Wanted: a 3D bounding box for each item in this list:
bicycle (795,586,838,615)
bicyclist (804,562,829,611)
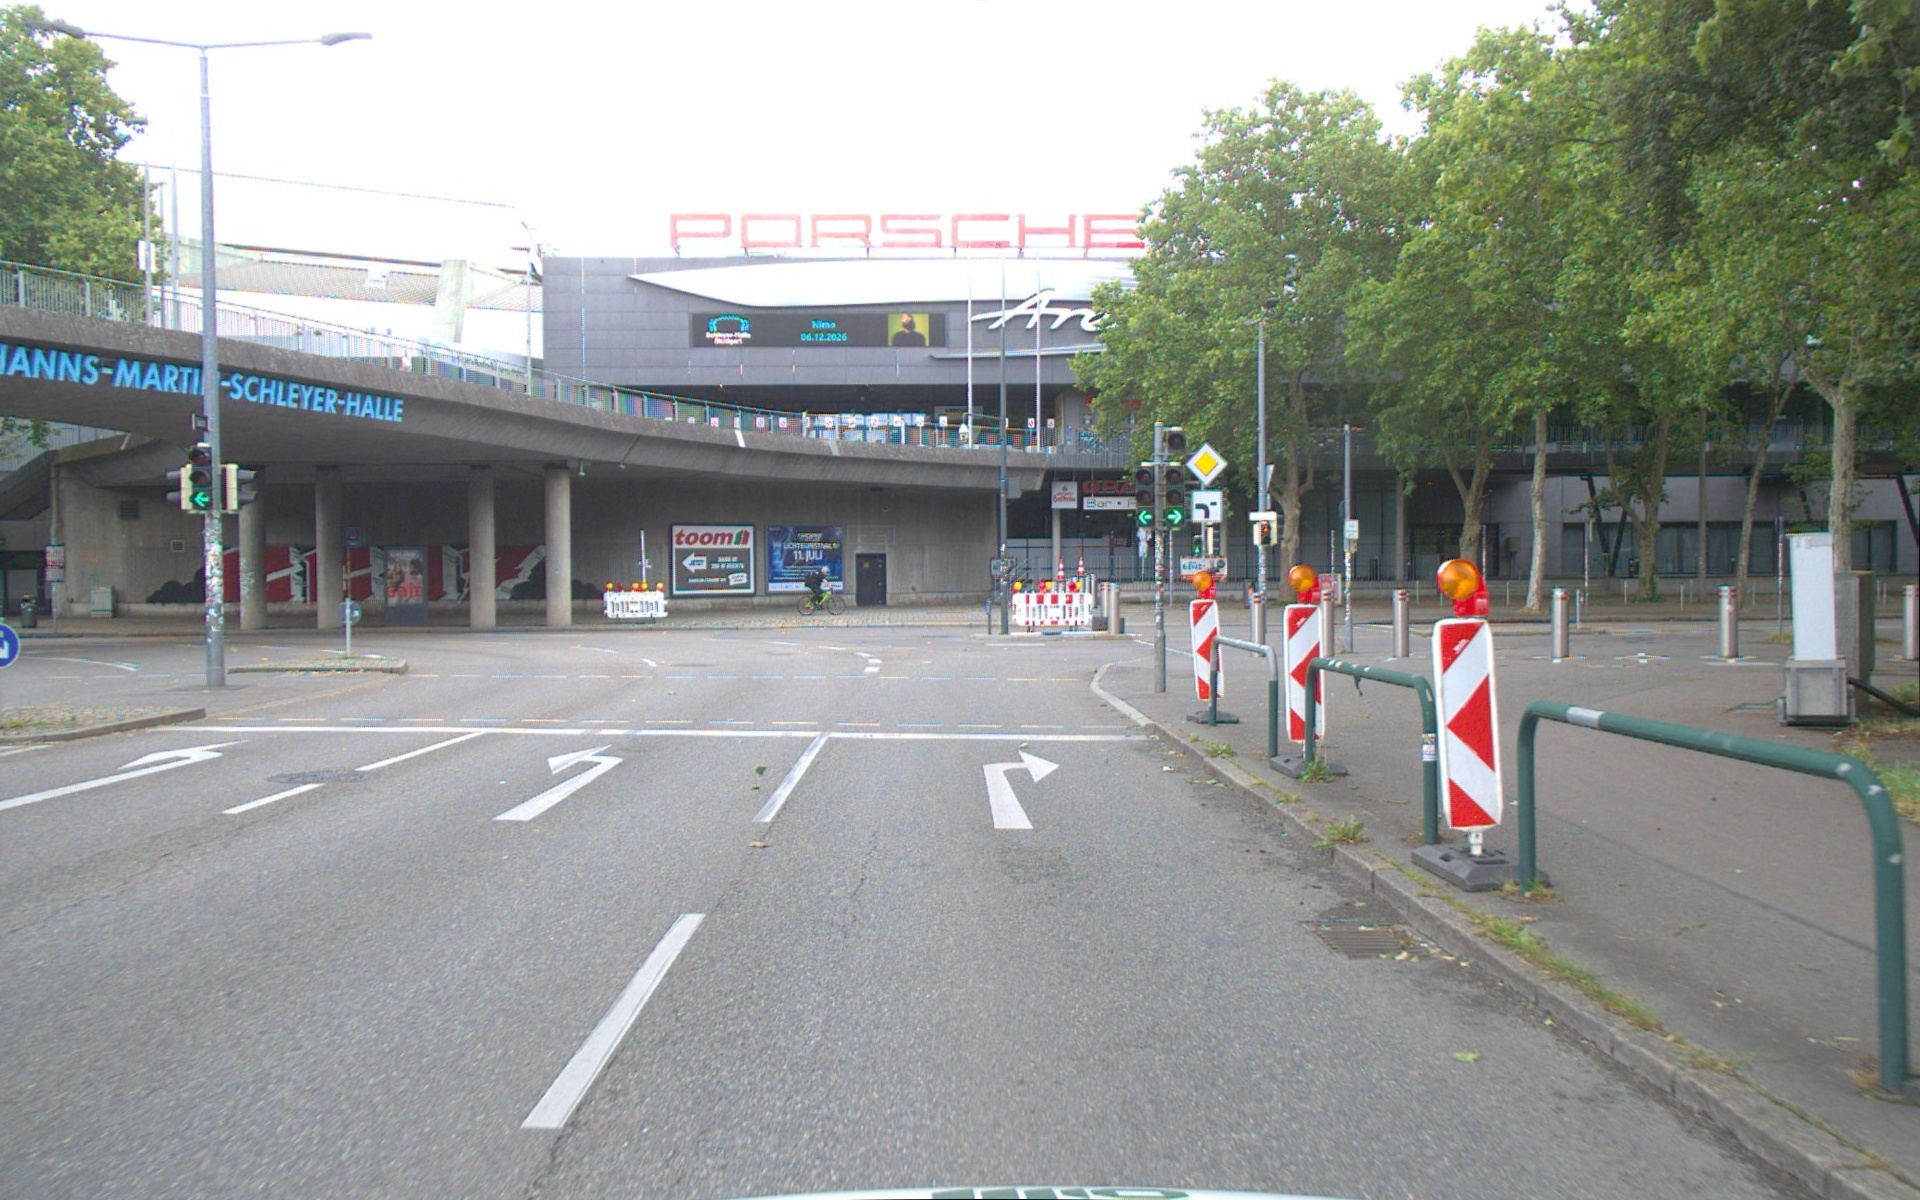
[{"bbox_3d":[-5.181,0.022,59.729,1.503,1.031,0.516,1,0,-5],"label":"bicycle"},{"bbox_3d":[-5.177,-0.487,59.735,0.835,1.727,0.766,1,0,-5],"label":"bicyclist"}]
